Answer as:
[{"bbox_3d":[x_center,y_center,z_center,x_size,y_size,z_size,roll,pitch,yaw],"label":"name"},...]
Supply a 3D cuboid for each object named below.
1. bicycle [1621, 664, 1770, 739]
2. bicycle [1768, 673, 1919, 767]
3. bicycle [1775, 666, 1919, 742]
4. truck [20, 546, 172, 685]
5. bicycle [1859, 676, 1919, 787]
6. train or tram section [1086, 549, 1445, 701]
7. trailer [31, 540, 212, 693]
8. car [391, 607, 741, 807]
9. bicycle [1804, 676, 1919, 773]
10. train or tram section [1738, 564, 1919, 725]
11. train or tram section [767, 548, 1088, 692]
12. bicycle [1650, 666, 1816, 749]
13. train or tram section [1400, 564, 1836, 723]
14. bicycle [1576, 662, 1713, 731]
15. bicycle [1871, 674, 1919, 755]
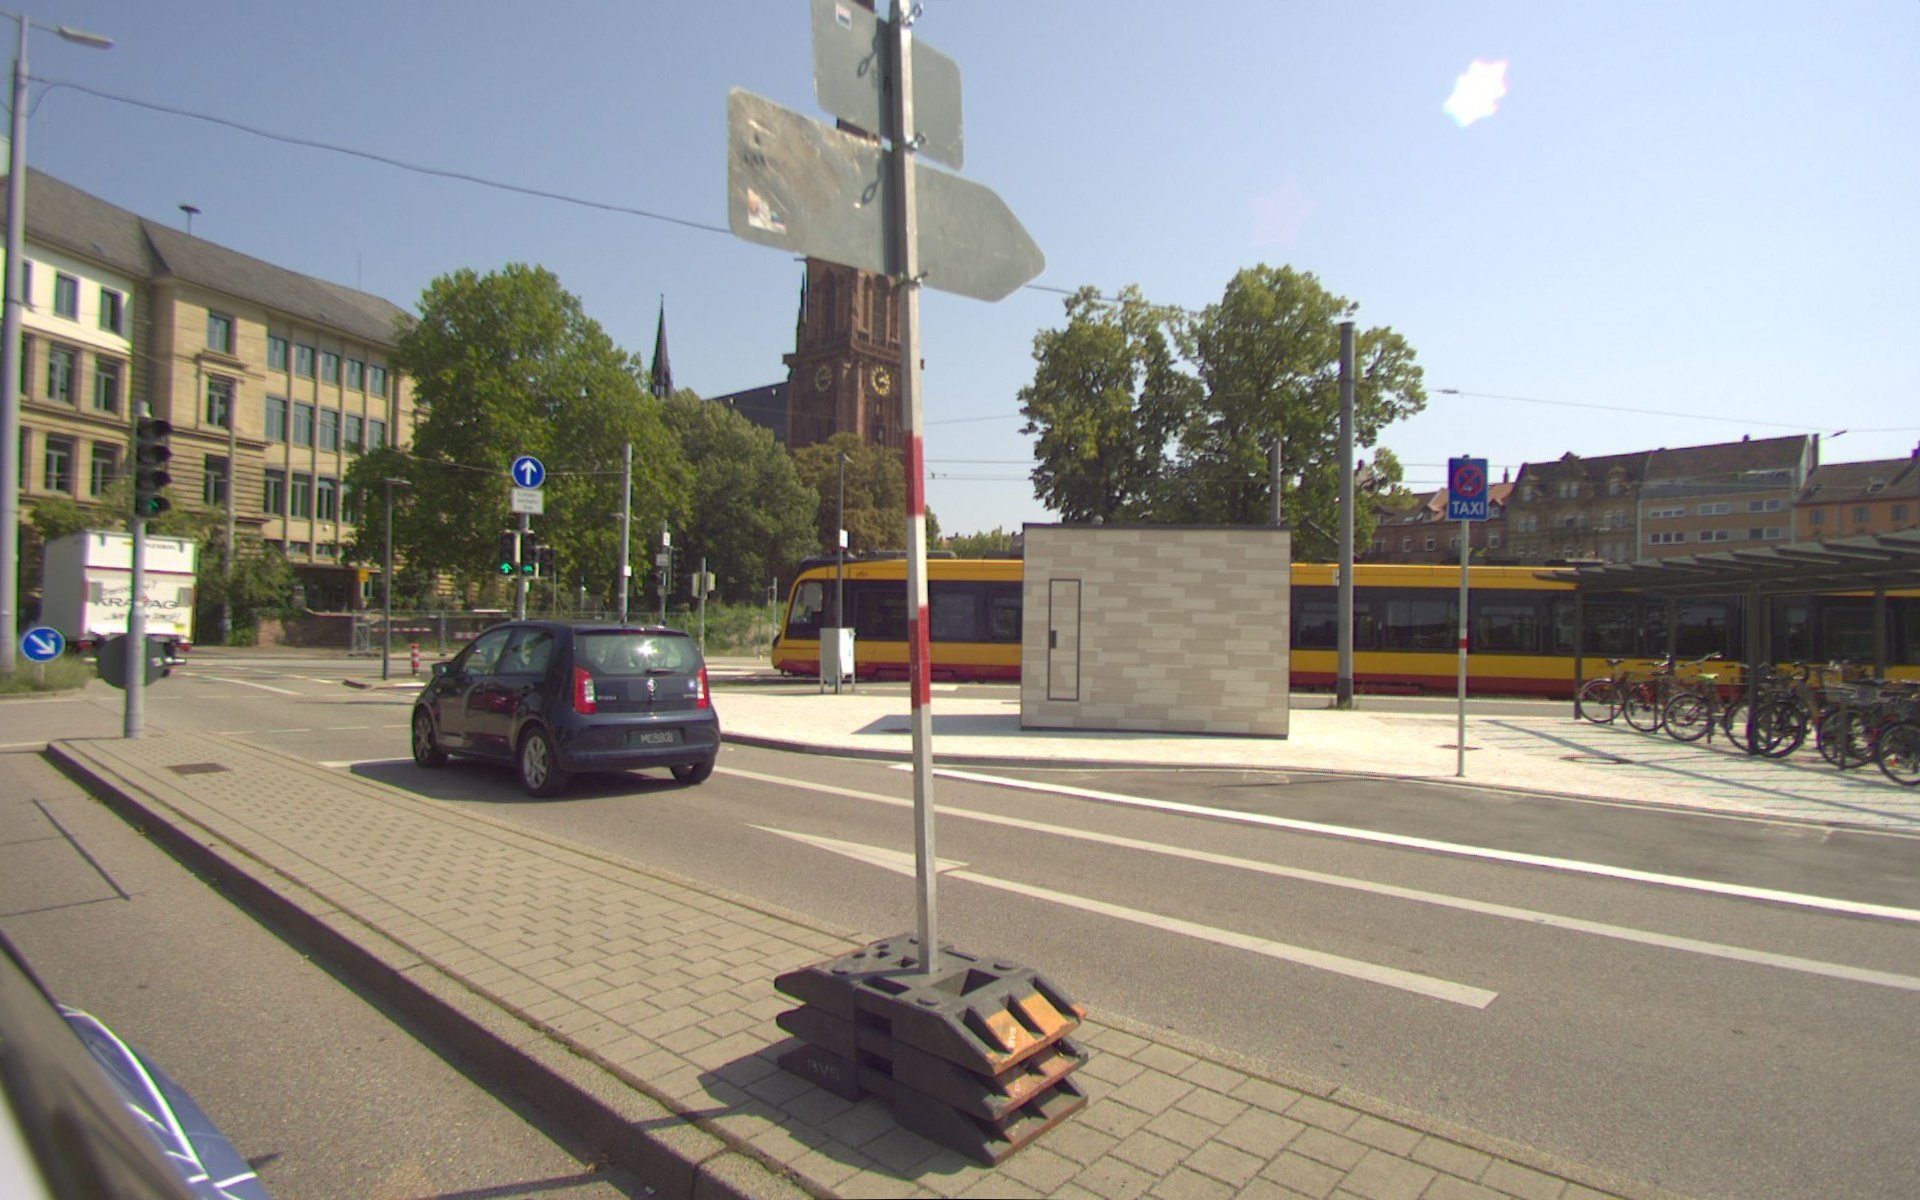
[{"bbox_3d":[11.030,1.516,15.221,1.750,1.048,0.525,1,-2,10],"label":"bicycle"},{"bbox_3d":[10.932,1.439,12.235,1.750,1.048,0.525,1,-2,10],"label":"bicycle"},{"bbox_3d":[13.053,1.516,14.894,1.622,1.048,0.411,1,-2,10],"label":"bicycle"},{"bbox_3d":[-22.356,0.409,26.177,3.425,3.313,2.397,0,-2,41],"label":"truck"},{"bbox_3d":[10.354,1.341,10.251,1.844,1.090,0.525,1,-2,10],"label":"bicycle"},{"bbox_3d":[7.524,0.659,26.221,8.424,3.625,3.155,0,-3,7],"label":"train or tram section"},{"bbox_3d":[-20.319,0.399,24.447,5.085,3.313,2.409,0,-2,40],"label":"trailer"},{"bbox_3d":[-3.789,0.882,9.465,3.585,1.509,1.563,-1,-4,42],"label":"car"},{"bbox_3d":[10.797,1.417,11.545,1.750,1.048,0.525,1,-2,10],"label":"bicycle"},{"bbox_3d":[24.063,1.085,24.098,8.147,3.625,3.155,0,-3,7],"label":"train or tram section"},{"bbox_3d":[-0.736,0.570,27.275,8.228,3.588,3.131,0,-3,7],"label":"train or tram section"},{"bbox_3d":[10.613,1.465,13.940,1.750,1.048,0.525,1,-2,10],"label":"bicycle"},{"bbox_3d":[15.868,1.054,25.136,8.424,3.625,3.155,0,-3,7],"label":"train or tram section"},{"bbox_3d":[11.055,1.545,16.384,1.750,1.048,0.525,1,-2,10],"label":"bicycle"},{"bbox_3d":[13.210,1.535,13.475,1.622,1.048,0.411,1,-2,10],"label":"bicycle"}]
